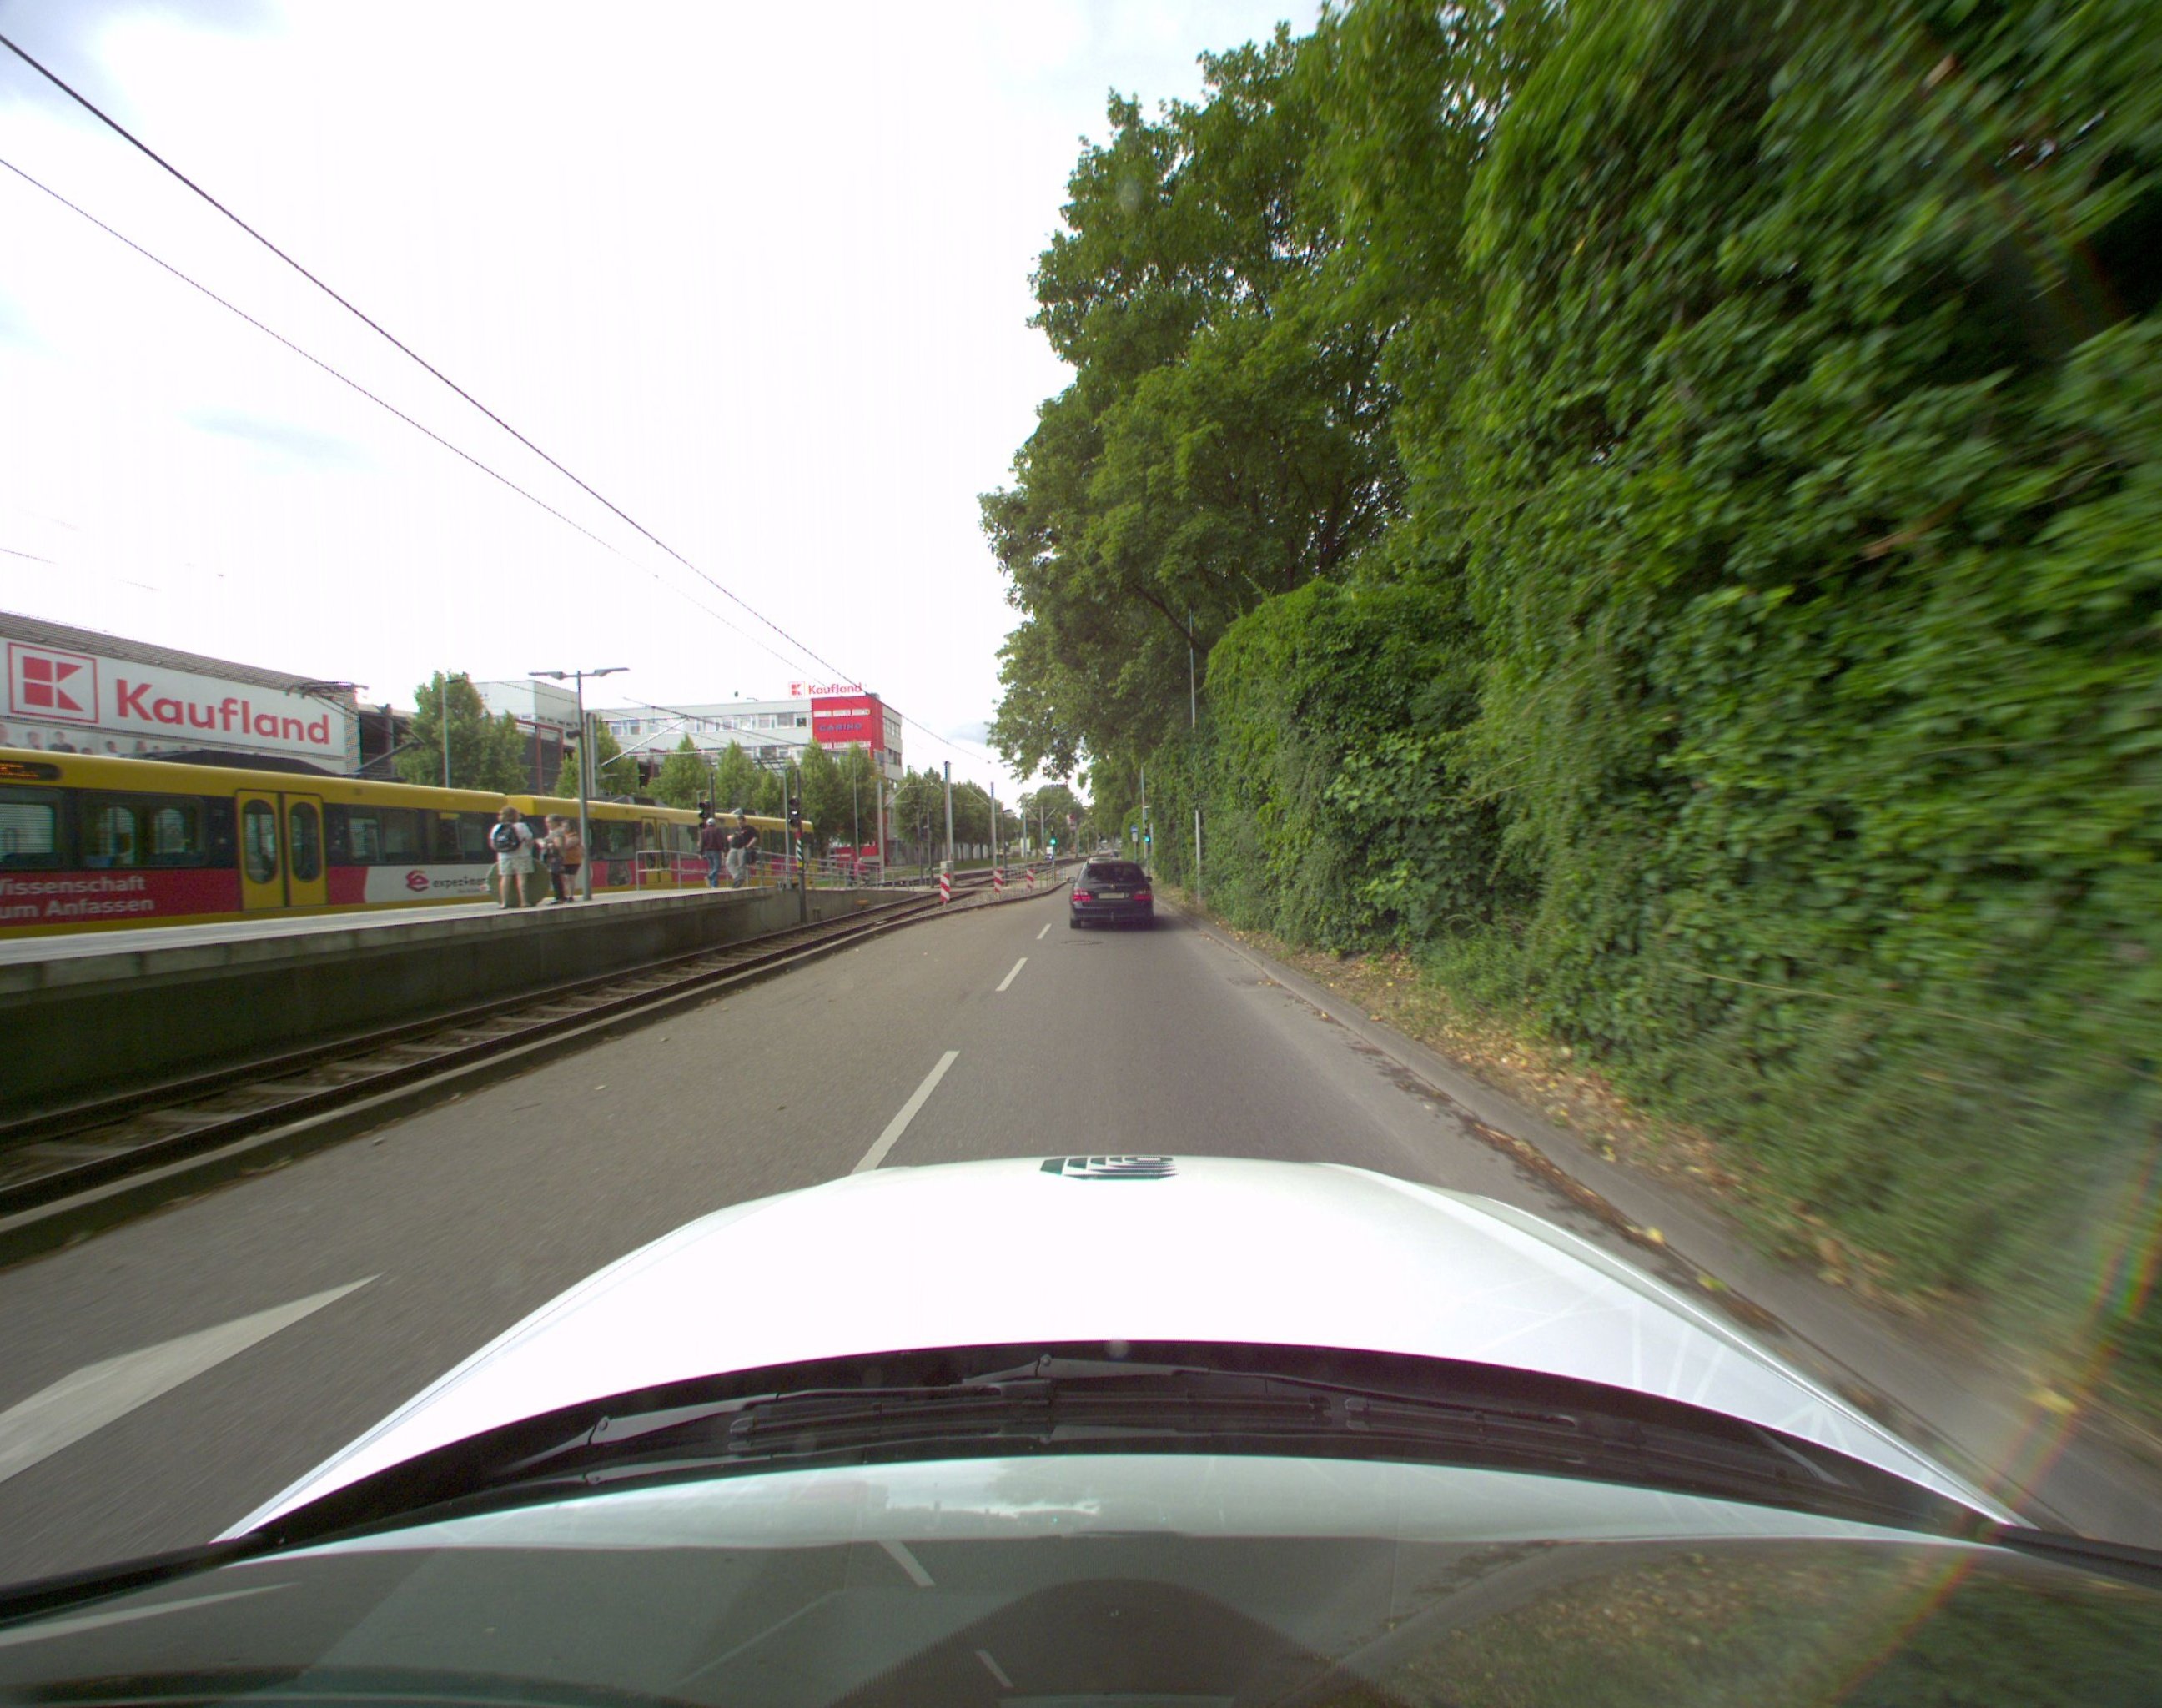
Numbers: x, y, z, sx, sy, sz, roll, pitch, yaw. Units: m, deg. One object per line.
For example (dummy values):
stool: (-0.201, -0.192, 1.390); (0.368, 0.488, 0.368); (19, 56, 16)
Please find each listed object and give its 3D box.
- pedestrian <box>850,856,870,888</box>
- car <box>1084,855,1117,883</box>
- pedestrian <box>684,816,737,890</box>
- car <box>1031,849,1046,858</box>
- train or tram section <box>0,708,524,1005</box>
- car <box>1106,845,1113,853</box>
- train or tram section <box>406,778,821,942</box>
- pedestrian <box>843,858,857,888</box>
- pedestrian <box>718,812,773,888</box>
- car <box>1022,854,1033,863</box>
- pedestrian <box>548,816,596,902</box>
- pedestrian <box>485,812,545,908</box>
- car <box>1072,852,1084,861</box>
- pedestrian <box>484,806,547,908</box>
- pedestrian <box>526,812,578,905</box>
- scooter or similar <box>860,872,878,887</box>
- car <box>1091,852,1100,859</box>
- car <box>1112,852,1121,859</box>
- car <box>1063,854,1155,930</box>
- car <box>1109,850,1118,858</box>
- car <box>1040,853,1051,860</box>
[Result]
pedestrian: (-12.019, 0.983, 44.304); (0.607, 1.654, 0.800); (-4, 0, 23)
car: (1.165, 0.865, 48.340); (1.818, 1.530, 4.417); (-1, 0, 1)
pedestrian: (-8.819, -0.029, 19.405); (0.768, 1.678, 0.791); (-4, 0, 1)
car: (-11.527, -0.195, 221.816); (3.978, 2.123, 1.998); (-4, 0, -3)
train or tram section: (-15.518, 0.104, 10.434); (2.744, 3.882, 18.649); (-4, 0, 4)
car: (8.334, -1.463, 234.609); (1.884, 2.013, 3.900); (-4, 0, 2)
train or tram section: (-14.342, 0.136, 29.073); (2.744, 3.828, 18.650); (-4, 0, 4)
pedestrian: (-13.077, 1.066, 46.100); (0.513, 1.662, 0.467); (-4, 0, 12)
pedestrian: (-7.678, -0.091, 18.644); (0.881, 1.678, 0.736); (-3, -1, -45)
car: (-13.153, 1.099, 200.343); (1.986, 2.013, 4.001); (-4, 0, 1)
pedestrian: (-8.674, 0.086, 13.880); (0.477, 1.405, 0.411); (-4, 0, 0)
pedestrian: (-9.086, 0.100, 13.084); (0.473, 1.483, 0.543); (-4, 0, 4)
car: (-0.543, 0.366, 145.637); (1.817, 1.530, 3.931); (-1, 0, 3)
pedestrian: (-8.474, 0.041, 12.210); (0.514, 1.482, 0.585); (-4, -1, 40)
pedestrian: (-8.562, 0.068, 13.194); (0.359, 1.464, 0.639); (-2, 0, 1)
scooter or similar: (-11.483, 1.383, 44.074); (0.491, 0.768, 0.803); (-4, 0, 23)
car: (3.471, 0.365, 189.870); (1.817, 1.530, 3.990); (-1, 0, 3)
car: (8.091, 0.350, 184.578); (1.817, 1.530, 3.931); (-1, 0, 3)
car: (0.664, 0.772, 18.584); (1.826, 1.478, 4.419); (-1, 0, 3)
car: (6.729, 0.001, 167.406); (1.817, 1.530, 4.420); (-2, 0, 3)
car: (-7.353, 0.611, 169.807); (1.651, 1.393, 3.726); (-2, 0, 7)
